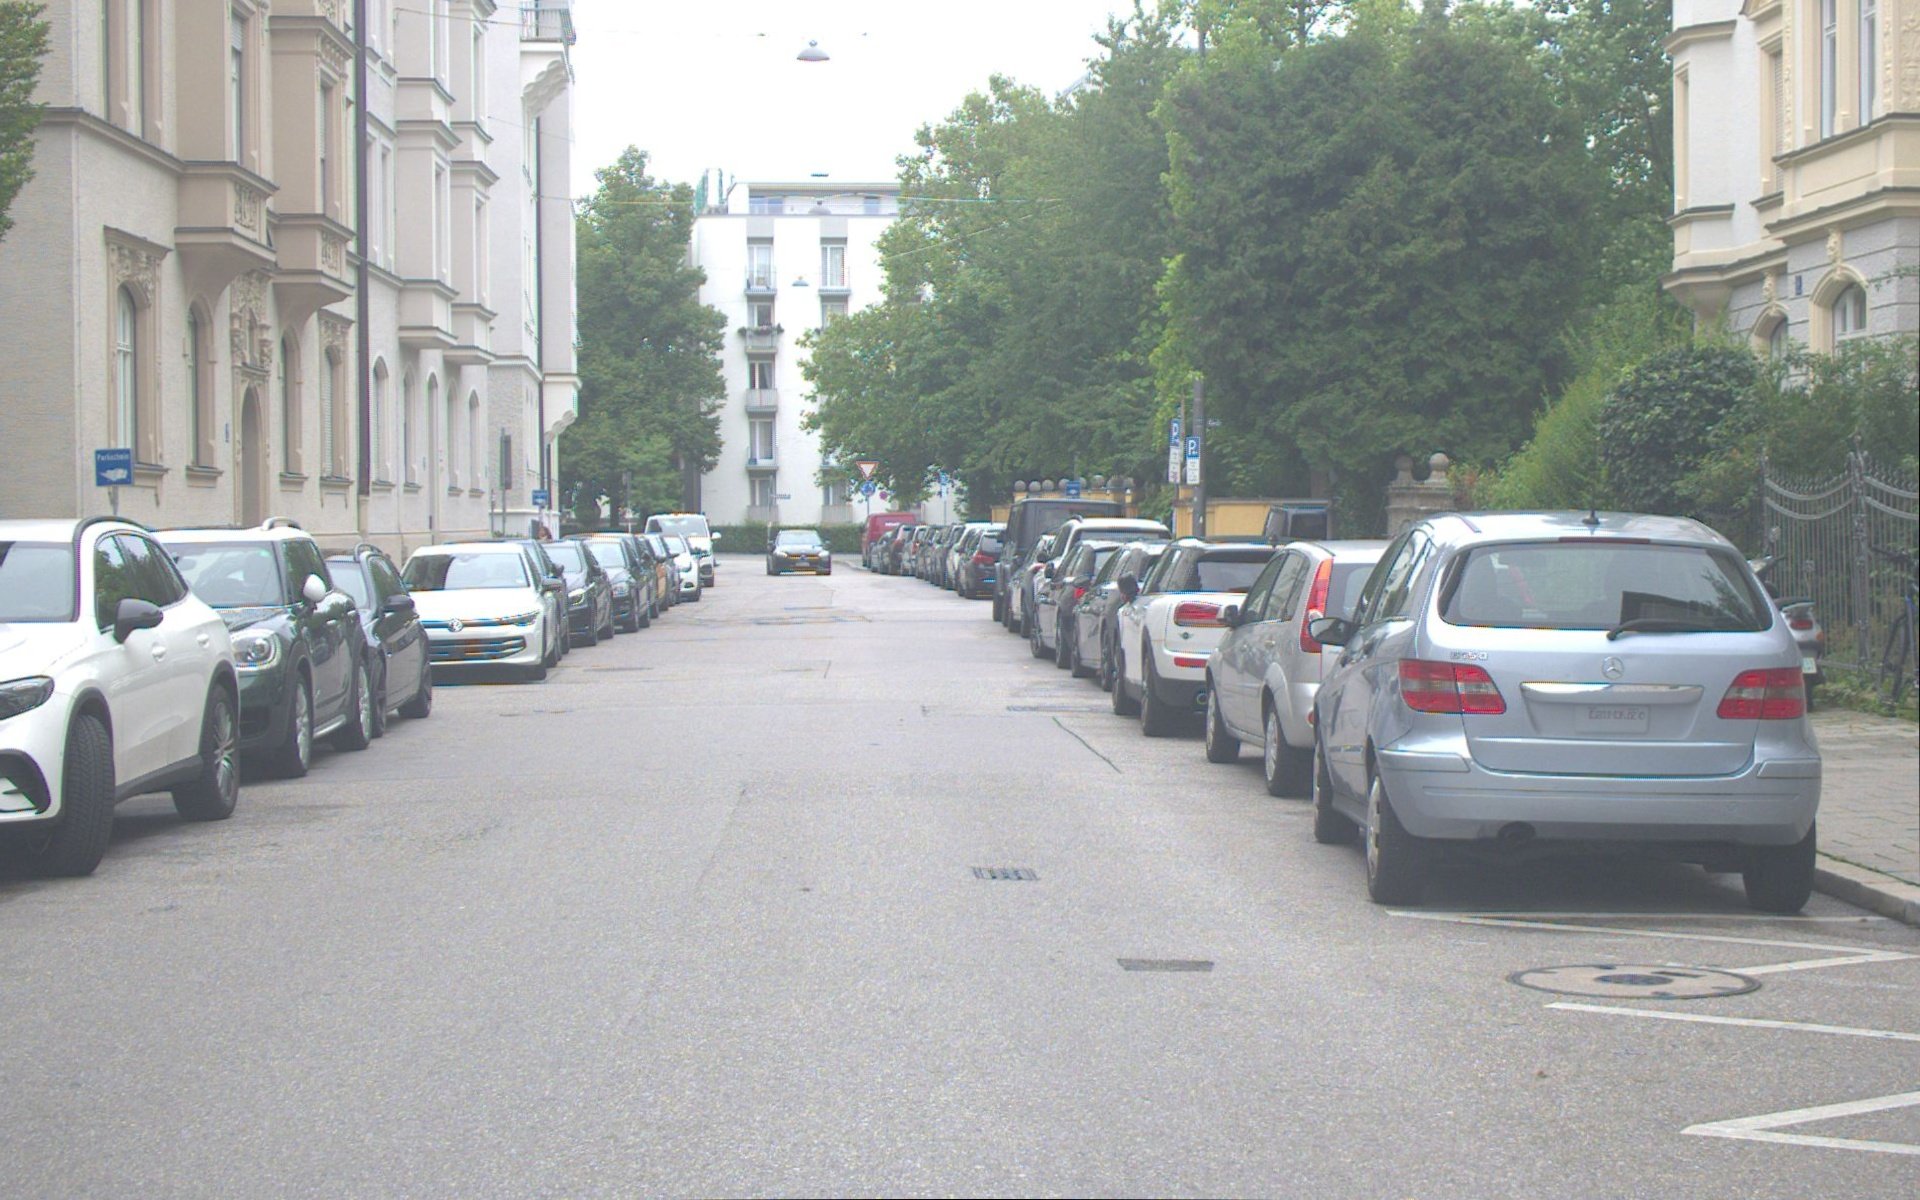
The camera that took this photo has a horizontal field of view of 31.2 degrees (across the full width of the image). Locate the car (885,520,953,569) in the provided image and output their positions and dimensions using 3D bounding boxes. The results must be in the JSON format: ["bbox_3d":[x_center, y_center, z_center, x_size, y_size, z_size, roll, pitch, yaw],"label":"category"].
[{"bbox_3d":[-1.317,-1.779,109.727,1.838,1.513,3.948,1,1,-5],"label":"car"}]

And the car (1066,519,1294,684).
[{"bbox_3d":[2.091,-0.033,33.684,1.683,1.499,4.019,1,1,-4],"label":"car"}]

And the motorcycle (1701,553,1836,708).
[{"bbox_3d":[6.063,0.207,25.861,0.607,1.108,1.964,0,1,2],"label":"motorcycle"}]

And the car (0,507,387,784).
[{"bbox_3d":[-4.940,0.212,22.414,1.836,1.613,4.245,0,2,-2],"label":"car"}]

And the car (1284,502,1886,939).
[{"bbox_3d":[2.562,0.393,15.172,1.822,1.564,4.401,2,2,0],"label":"car"}]

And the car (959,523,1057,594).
[{"bbox_3d":[0.961,-0.865,71.059,1.838,1.408,4.343,1,1,-2],"label":"car"}]

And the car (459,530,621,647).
[{"bbox_3d":[-5.704,-0.197,47.132,1.833,1.429,4.554,-2,2,-3],"label":"car"}]

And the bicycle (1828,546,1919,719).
[{"bbox_3d":[6.421,0.199,23.576,0.434,1.122,1.882,0,1,-1],"label":"bicycle"}]

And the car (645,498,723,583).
[{"bbox_3d":[-7.348,-1.615,91.829,1.886,2.120,4.707,-3,2,-3],"label":"car"}]

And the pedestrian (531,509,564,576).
[{"bbox_3d":[-10.346,-1.449,86.186,0.792,1.673,0.700,-1,1,-9],"label":"pedestrian"}]

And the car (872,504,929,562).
[{"bbox_3d":[-2.087,-2.388,121.515,1.836,1.920,4.005,2,2,0],"label":"car"}]

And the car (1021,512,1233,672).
[{"bbox_3d":[1.801,-0.136,38.391,1.750,1.605,4.425,1,2,-5],"label":"car"}]

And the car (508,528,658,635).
[{"bbox_3d":[-5.725,-0.320,52.632,1.836,1.431,4.245,-3,2,-1],"label":"car"}]

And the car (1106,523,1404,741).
[{"bbox_3d":[2.150,0.178,26.072,1.784,1.499,4.065,1,1,-2],"label":"car"}]

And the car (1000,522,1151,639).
[{"bbox_3d":[1.579,-0.293,48.179,1.722,1.513,3.631,2,1,-3],"label":"car"}]

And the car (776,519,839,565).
[{"bbox_3d":[-4.844,-1.860,108.950,1.874,1.423,4.410,0,1,-4],"label":"car"}]

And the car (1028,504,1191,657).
[{"bbox_3d":[1.830,-0.267,43.381,1.723,1.763,4.413,2,1,-1],"label":"car"}]

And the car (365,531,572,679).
[{"bbox_3d":[-5.337,0.006,37.753,1.836,1.429,4.245,-2,2,-3],"label":"car"}]

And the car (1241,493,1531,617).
[{"bbox_3d":[7.186,-0.783,58.202,4.528,1.943,1.904,-1,3,-8],"label":"car"}]

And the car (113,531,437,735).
[{"bbox_3d":[-5.230,0.191,26.773,1.787,1.407,4.368,0,2,-2],"label":"car"}]

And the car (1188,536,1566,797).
[{"bbox_3d":[2.413,0.334,20.674,1.754,1.401,3.452,1,1,-2],"label":"car"}]

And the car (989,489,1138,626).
[{"bbox_3d":[1.546,-0.701,53.102,1.950,1.947,4.666,1,2,-2],"label":"car"}]

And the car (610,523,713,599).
[{"bbox_3d":[-6.328,-0.860,73.346,1.836,1.433,4.275,-3,2,-1],"label":"car"}]

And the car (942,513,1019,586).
[{"bbox_3d":[0.467,-1.189,81.057,1.513,1.655,3.675,1,1,-4],"label":"car"}]

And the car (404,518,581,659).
[{"bbox_3d":[-5.696,-0.188,42.314,1.770,1.513,4.386,-3,2,-3],"label":"car"}]

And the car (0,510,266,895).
[{"bbox_3d":[-4.790,0.378,16.847,1.915,1.613,4.572,0,2,-1],"label":"car"}]
